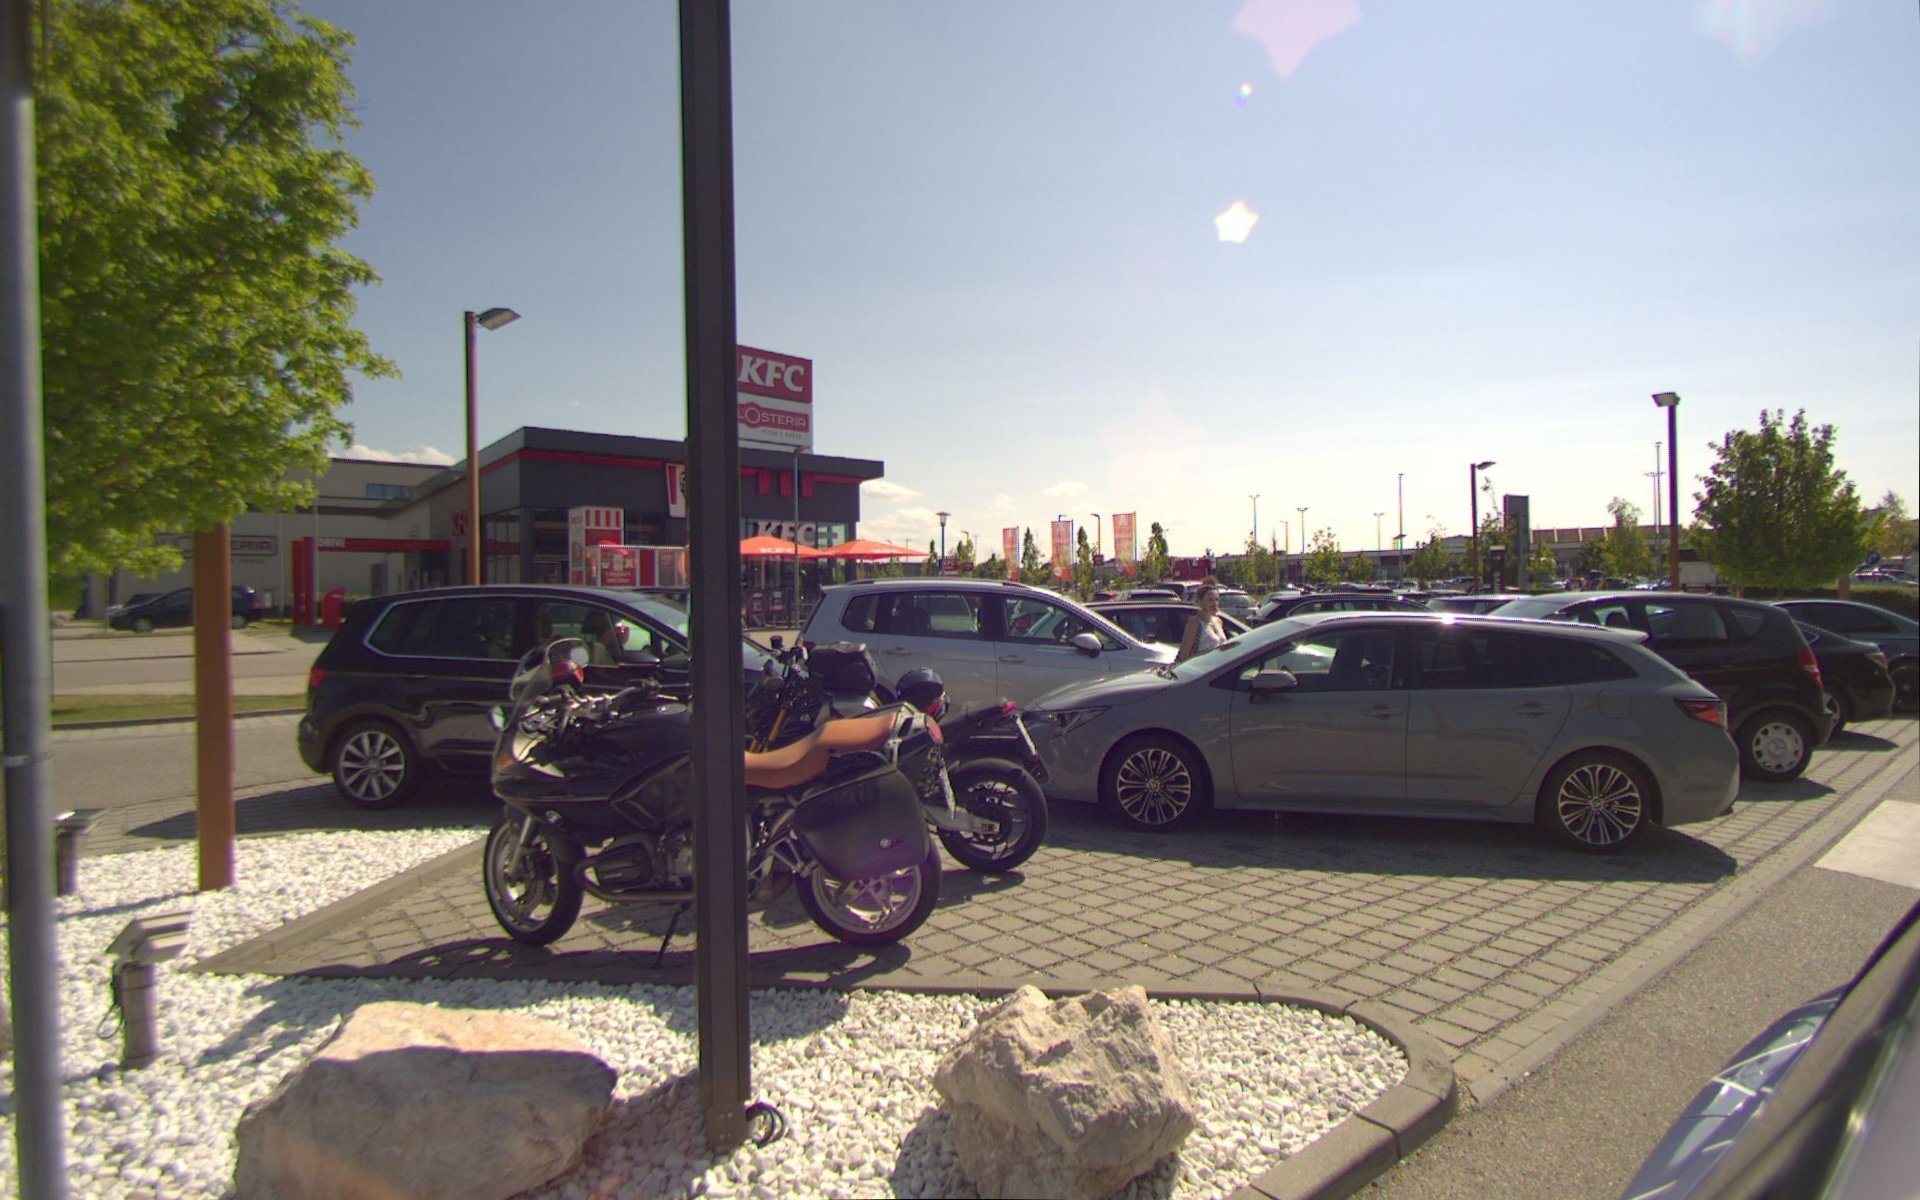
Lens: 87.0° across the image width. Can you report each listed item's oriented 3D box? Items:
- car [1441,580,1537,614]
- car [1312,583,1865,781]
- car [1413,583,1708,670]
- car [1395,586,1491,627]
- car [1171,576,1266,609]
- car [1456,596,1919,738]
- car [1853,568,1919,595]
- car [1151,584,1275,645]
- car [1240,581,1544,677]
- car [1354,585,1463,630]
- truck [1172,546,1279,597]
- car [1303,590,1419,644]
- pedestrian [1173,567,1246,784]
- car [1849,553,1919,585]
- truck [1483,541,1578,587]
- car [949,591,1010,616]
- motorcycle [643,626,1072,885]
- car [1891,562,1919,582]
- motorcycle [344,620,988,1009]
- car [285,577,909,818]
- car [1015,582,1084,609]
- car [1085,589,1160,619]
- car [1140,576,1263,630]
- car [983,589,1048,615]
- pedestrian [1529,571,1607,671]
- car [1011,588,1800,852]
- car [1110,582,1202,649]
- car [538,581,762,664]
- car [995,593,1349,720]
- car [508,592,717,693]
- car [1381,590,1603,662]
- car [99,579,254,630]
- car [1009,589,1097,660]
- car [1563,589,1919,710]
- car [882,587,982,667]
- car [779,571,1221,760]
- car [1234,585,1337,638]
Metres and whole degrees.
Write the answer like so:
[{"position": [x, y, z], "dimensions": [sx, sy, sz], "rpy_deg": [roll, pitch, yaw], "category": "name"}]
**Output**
[{"position": [32.895, -0.226, 63.065], "dimensions": [1.961, 2.039, 5.025], "rpy_deg": [-1, 1, -32], "category": "car"}, {"position": [5.530, 0.675, 9.396], "dimensions": [3.930, 1.613, 1.809], "rpy_deg": [-1, 0, 6], "category": "car"}, {"position": [11.185, 0.477, 19.150], "dimensions": [4.340, 1.530, 1.981], "rpy_deg": [-1, 0, 6], "category": "car"}, {"position": [17.717, 0.205, 37.314], "dimensions": [1.878, 1.440, 3.773], "rpy_deg": [-1, 1, 3], "category": "car"}, {"position": [11.721, -0.373, 45.810], "dimensions": [4.074, 1.415, 1.889], "rpy_deg": [-1, 1, -33], "category": "car"}, {"position": [8.197, 0.712, 11.706], "dimensions": [4.005, 1.467, 1.826], "rpy_deg": [-1, 0, 6], "category": "car"}, {"position": [61.528, -1.215, 66.599], "dimensions": [1.863, 1.749, 3.989], "rpy_deg": [-1, 1, -44], "category": "car"}, {"position": [6.866, 0.337, 27.982], "dimensions": [1.742, 1.530, 4.359], "rpy_deg": [-1, 1, -9], "category": "car"}, {"position": [7.183, 0.465, 17.266], "dimensions": [4.340, 1.530, 1.981], "rpy_deg": [-1, 0, 6], "category": "car"}, {"position": [15.223, 0.225, 34.608], "dimensions": [1.762, 1.440, 4.089], "rpy_deg": [-1, 1, -3], "category": "car"}, {"position": [21.544, -2.270, 82.787], "dimensions": [3.145, 3.915, 9.142], "rpy_deg": [-1, 1, -28], "category": "truck"}, {"position": [12.664, 0.495, 32.250], "dimensions": [1.770, 1.576, 4.060], "rpy_deg": [-1, 1, -6], "category": "car"}, {"position": [2.074, 0.599, 8.456], "dimensions": [0.555, 1.734, 0.608], "rpy_deg": [0, 0, 13], "category": "pedestrian"}, {"position": [67.599, -2.199, 71.761], "dimensions": [2.260, 2.272, 6.562], "rpy_deg": [-1, 1, -40], "category": "car"}, {"position": [44.669, -2.755, 79.530], "dimensions": [2.373, 3.393, 7.577], "rpy_deg": [-1, 1, -7], "category": "truck"}, {"position": [1.285, 0.197, 65.683], "dimensions": [3.682, 1.530, 1.688], "rpy_deg": [-1, 1, -33], "category": "car"}, {"position": [-0.514, 0.780, 5.401], "dimensions": [2.099, 1.247, 0.821], "rpy_deg": [0, 0, -2], "category": "motorcycle"}, {"position": [66.188, -1.896, 68.955], "dimensions": [1.636, 1.359, 3.902], "rpy_deg": [-1, 1, -40], "category": "car"}, {"position": [-1.010, 0.740, 4.017], "dimensions": [2.210, 1.267, 1.070], "rpy_deg": [1, -1, 2], "category": "motorcycle"}, {"position": [-2.564, 0.616, 7.750], "dimensions": [4.118, 1.556, 1.893], "rpy_deg": [0, 0, 7], "category": "car"}, {"position": [5.123, -0.259, 57.627], "dimensions": [3.682, 1.472, 1.688], "rpy_deg": [-1, 1, -33], "category": "car"}, {"position": [8.475, 0.196, 52.769], "dimensions": [3.682, 1.472, 1.688], "rpy_deg": [-1, 1, -33], "category": "car"}, {"position": [8.517, 0.076, 35.544], "dimensions": [4.290, 1.772, 2.070], "rpy_deg": [-1, 1, -40], "category": "car"}, {"position": [3.384, 0.112, 61.649], "dimensions": [3.682, 1.472, 1.688], "rpy_deg": [-1, 1, -33], "category": "car"}, {"position": [12.234, 0.394, 20.376], "dimensions": [0.884, 1.940, 1.030], "rpy_deg": [-1, 0, -28], "category": "pedestrian"}, {"position": [2.707, 0.686, 7.089], "dimensions": [4.582, 1.465, 1.832], "rpy_deg": [1, 0, 7], "category": "car"}, {"position": [4.734, 0.335, 24.918], "dimensions": [1.789, 1.508, 3.995], "rpy_deg": [-1, 1, 5], "category": "car"}, {"position": [-6.278, 0.445, 20.731], "dimensions": [4.015, 1.596, 1.754], "rpy_deg": [-1, 0, 6], "category": "car"}, {"position": [2.464, 0.634, 12.521], "dimensions": [4.009, 1.426, 1.792], "rpy_deg": [0, 1, 4], "category": "car"}, {"position": [-5.578, 0.608, 16.845], "dimensions": [1.811, 1.443, 4.182], "rpy_deg": [-1, 1, 4], "category": "car"}, {"position": [11.291, 0.528, 21.701], "dimensions": [3.837, 1.444, 1.703], "rpy_deg": [0, 0, 7], "category": "car"}, {"position": [-27.930, 0.126, 36.147], "dimensions": [4.308, 1.706, 1.639], "rpy_deg": [-1, 1, -41], "category": "car"}, {"position": [2.104, 0.489, 22.794], "dimensions": [1.789, 1.420, 3.994], "rpy_deg": [-1, 1, 6], "category": "car"}, {"position": [11.189, 0.634, 14.001], "dimensions": [4.463, 1.530, 1.884], "rpy_deg": [-1, 0, 6], "category": "car"}, {"position": [-0.549, 0.478, 21.421], "dimensions": [1.878, 1.490, 4.473], "rpy_deg": [-1, 1, -1], "category": "car"}, {"position": [0.395, 0.567, 10.013], "dimensions": [3.996, 1.660, 1.745], "rpy_deg": [0, 0, 6], "category": "car"}, {"position": [9.472, 0.285, 29.829], "dimensions": [1.681, 1.428, 4.679], "rpy_deg": [-1, 1, 2], "category": "car"}]
